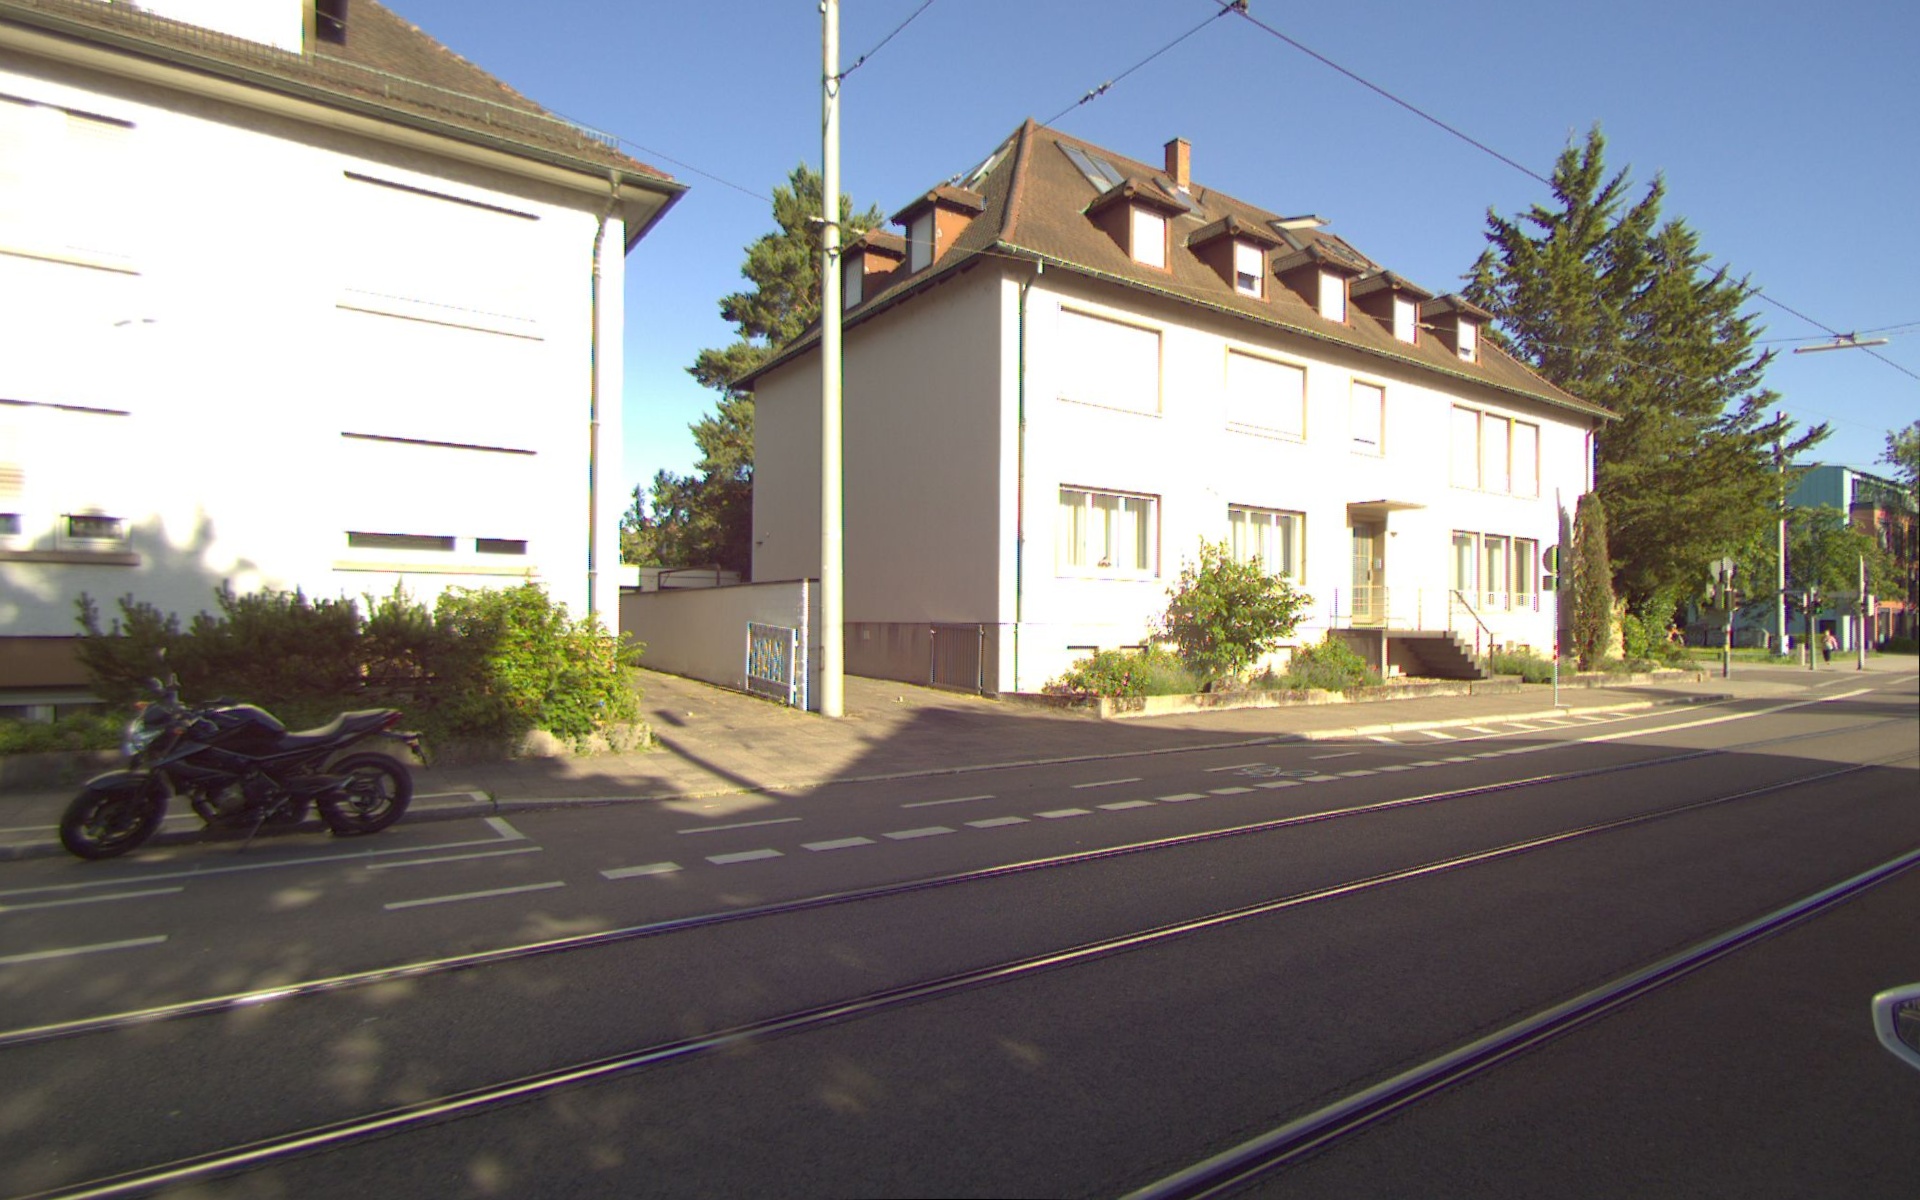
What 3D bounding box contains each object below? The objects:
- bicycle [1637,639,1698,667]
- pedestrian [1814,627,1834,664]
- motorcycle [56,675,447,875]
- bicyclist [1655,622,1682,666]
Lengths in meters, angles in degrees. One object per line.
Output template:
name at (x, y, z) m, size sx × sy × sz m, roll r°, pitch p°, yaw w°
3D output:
bicycle at (27.820, 2.077, 39.531) m, size 0.530 × 1.028 × 1.939 m, roll 1°, pitch -2°, yaw -26°
pedestrian at (40.883, 2.155, 47.521) m, size 0.601 × 1.712 × 0.730 m, roll 3°, pitch 2°, yaw 37°
motorcycle at (-4.842, 1.143, 7.052) m, size 2.149 × 1.177 × 0.533 m, roll 1°, pitch -3°, yaw -35°
bicyclist at (27.853, 1.733, 39.482) m, size 0.530 × 1.707 × 0.677 m, roll 1°, pitch -2°, yaw -26°
